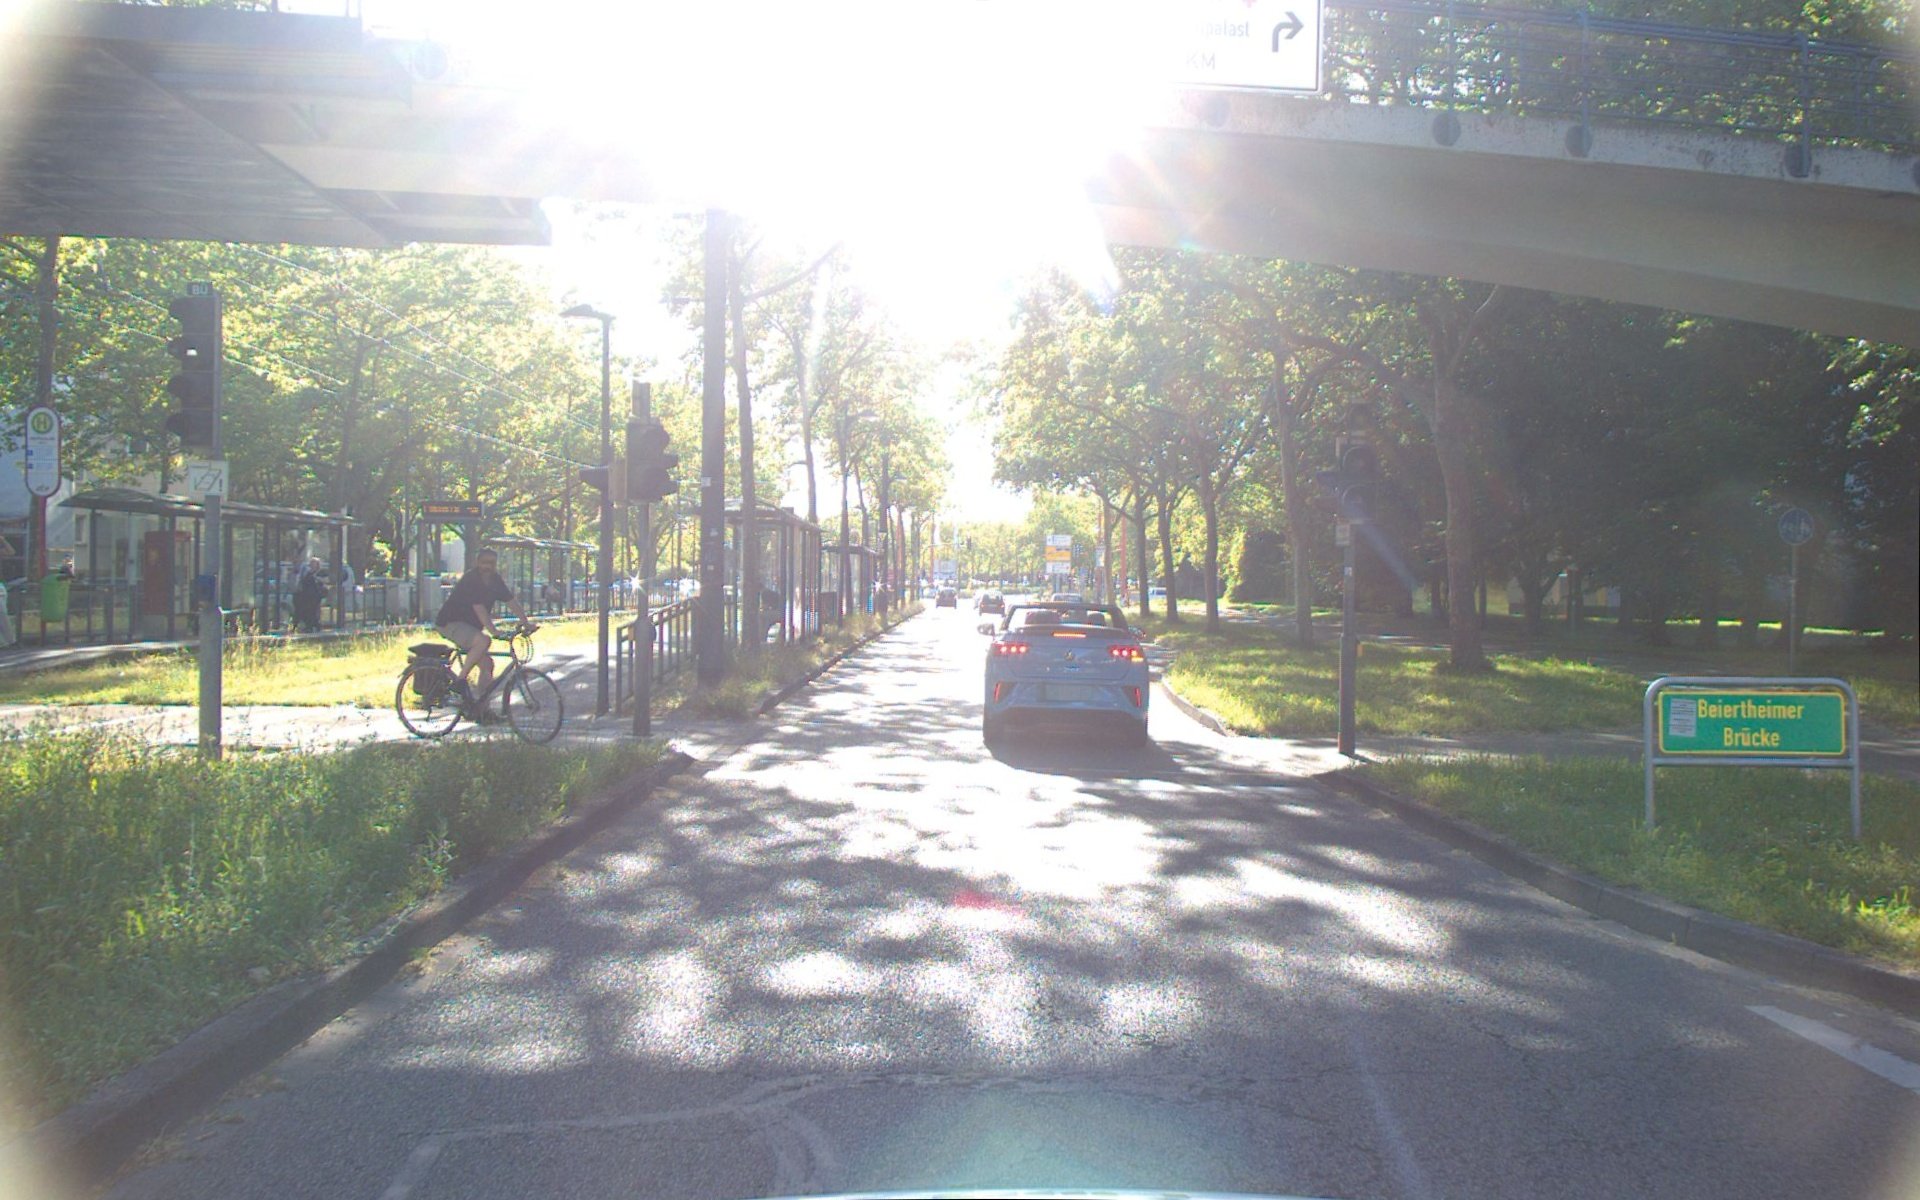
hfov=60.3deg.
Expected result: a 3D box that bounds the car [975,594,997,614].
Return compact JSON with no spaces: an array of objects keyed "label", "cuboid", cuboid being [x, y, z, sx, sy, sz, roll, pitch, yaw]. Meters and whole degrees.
[{"label":"car","cuboid":[2.059,0.322,130.522,1.644,1.500,4.131,2,0,1]}]

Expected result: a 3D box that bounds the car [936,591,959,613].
[{"label":"car","cuboid":[-1.012,0.157,128.082,1.676,1.631,3.349,2,0,-1]}]

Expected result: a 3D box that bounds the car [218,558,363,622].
[{"label":"car","cuboid":[-24.260,-0.338,60.012,4.456,2.099,1.874,2,1,-40]}]

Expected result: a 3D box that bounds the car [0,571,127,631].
[{"label":"car","cuboid":[-24.575,0.015,43.884,4.159,1.453,1.676,2,1,-40]}]

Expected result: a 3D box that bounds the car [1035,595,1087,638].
[{"label":"car","cuboid":[4.560,0.738,75.214,1.941,1.823,4.613,2,0,-1]}]

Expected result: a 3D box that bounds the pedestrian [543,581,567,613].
[{"label":"pedestrian","cuboid":[-14.927,-0.114,61.018,0.680,1.147,0.662,-2,0,0]}]

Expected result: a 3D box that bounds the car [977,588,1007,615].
[{"label":"car","cuboid":[1.958,0.058,101.273,1.606,1.520,3.502,2,1,-1]}]

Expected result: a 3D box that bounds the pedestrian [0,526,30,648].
[{"label":"pedestrian","cuboid":[-14.350,-0.198,24.868,0.499,1.801,0.477,3,-1,-41]}]

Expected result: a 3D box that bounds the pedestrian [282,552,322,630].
[{"label":"pedestrian","cuboid":[-14.193,-0.198,35.692,0.701,1.663,0.728,0,0,-15]}]

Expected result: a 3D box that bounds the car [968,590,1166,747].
[{"label":"car","cuboid":[1.086,0.679,18.703,1.740,1.509,4.098,2,0,-3]}]

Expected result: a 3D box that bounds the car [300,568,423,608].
[{"label":"car","cuboid":[-24.928,-0.492,68.998,1.866,1.530,4.475,3,1,40]}]

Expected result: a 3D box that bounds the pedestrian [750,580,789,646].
[{"label":"pedestrian","cuboid":[-3.806,0.262,33.069,0.719,1.274,0.587,2,0,-7]}]

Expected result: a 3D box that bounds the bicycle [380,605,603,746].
[{"label":"bicycle","cuboid":[-4.381,0.683,15.527,1.792,1.167,0.815,3,1,11]}]

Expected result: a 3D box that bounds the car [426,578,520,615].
[{"label":"car","cuboid":[-22.867,-0.140,77.715,1.548,1.595,4.037,4,2,40]}]

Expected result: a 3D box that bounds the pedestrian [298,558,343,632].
[{"label":"pedestrian","cuboid":[-13.404,-0.109,34.668,0.628,1.540,0.685,0,0,7]}]

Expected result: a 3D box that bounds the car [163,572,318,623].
[{"label":"car","cuboid":[-24.551,-0.069,56.533,4.463,1.523,1.871,2,1,-43]}]

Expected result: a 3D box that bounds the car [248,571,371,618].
[{"label":"car","cuboid":[-24.642,-0.192,62.745,4.030,1.638,1.662,1,1,-45]}]

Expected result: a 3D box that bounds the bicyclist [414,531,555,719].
[{"label":"bicyclist","cuboid":[-4.453,0.222,15.519,0.933,1.660,0.815,3,1,11]}]
